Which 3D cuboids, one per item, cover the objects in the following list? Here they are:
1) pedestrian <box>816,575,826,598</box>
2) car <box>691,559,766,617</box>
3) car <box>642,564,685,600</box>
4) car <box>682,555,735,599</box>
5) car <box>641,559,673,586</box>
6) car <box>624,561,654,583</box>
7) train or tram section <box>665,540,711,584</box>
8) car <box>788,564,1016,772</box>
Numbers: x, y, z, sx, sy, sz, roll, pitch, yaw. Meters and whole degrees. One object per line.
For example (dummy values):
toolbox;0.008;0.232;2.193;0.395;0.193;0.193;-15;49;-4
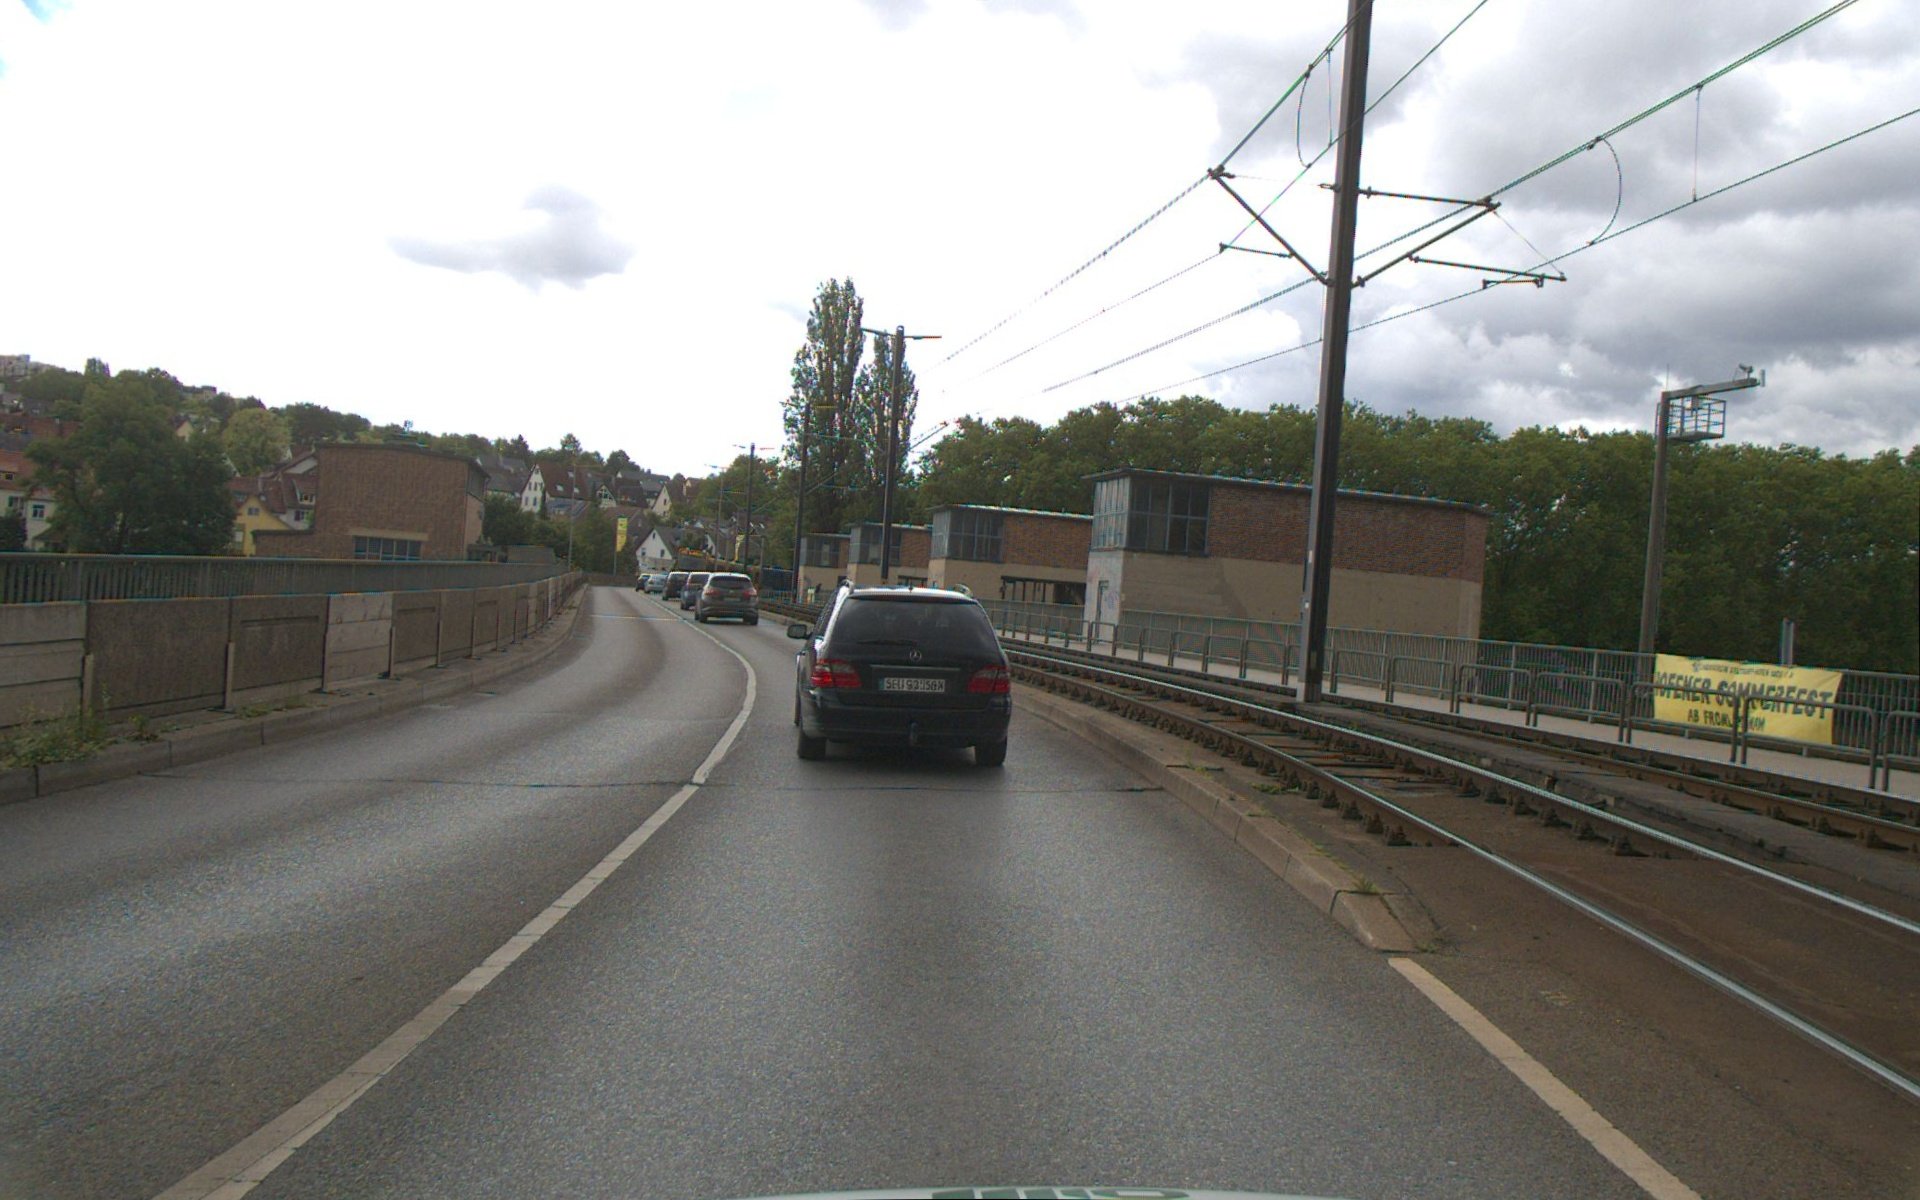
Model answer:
pedestrian;-10.258;-0.979;121.998;0.567;1.637;0.611;3;-1;-12
car;-7.159;-0.399;50.881;1.741;1.582;4.225;3;0;-15
car;-15.104;-0.951;84.089;1.959;1.701;4.527;2;1;-12
car;-10.078;-0.939;65.969;1.957;1.591;4.986;1;2;-10
car;-20.041;-1.855;109.443;1.958;1.598;4.894;4;0;-10
car;-26.098;-2.269;134.450;1.961;1.598;4.887;4;0;-15
train or tram section;-24.183;-3.286;146.334;2.833;3.570;18.606;2;1;-13
car;-0.570;0.486;15.077;1.724;1.542;4.440;2;1;-3
